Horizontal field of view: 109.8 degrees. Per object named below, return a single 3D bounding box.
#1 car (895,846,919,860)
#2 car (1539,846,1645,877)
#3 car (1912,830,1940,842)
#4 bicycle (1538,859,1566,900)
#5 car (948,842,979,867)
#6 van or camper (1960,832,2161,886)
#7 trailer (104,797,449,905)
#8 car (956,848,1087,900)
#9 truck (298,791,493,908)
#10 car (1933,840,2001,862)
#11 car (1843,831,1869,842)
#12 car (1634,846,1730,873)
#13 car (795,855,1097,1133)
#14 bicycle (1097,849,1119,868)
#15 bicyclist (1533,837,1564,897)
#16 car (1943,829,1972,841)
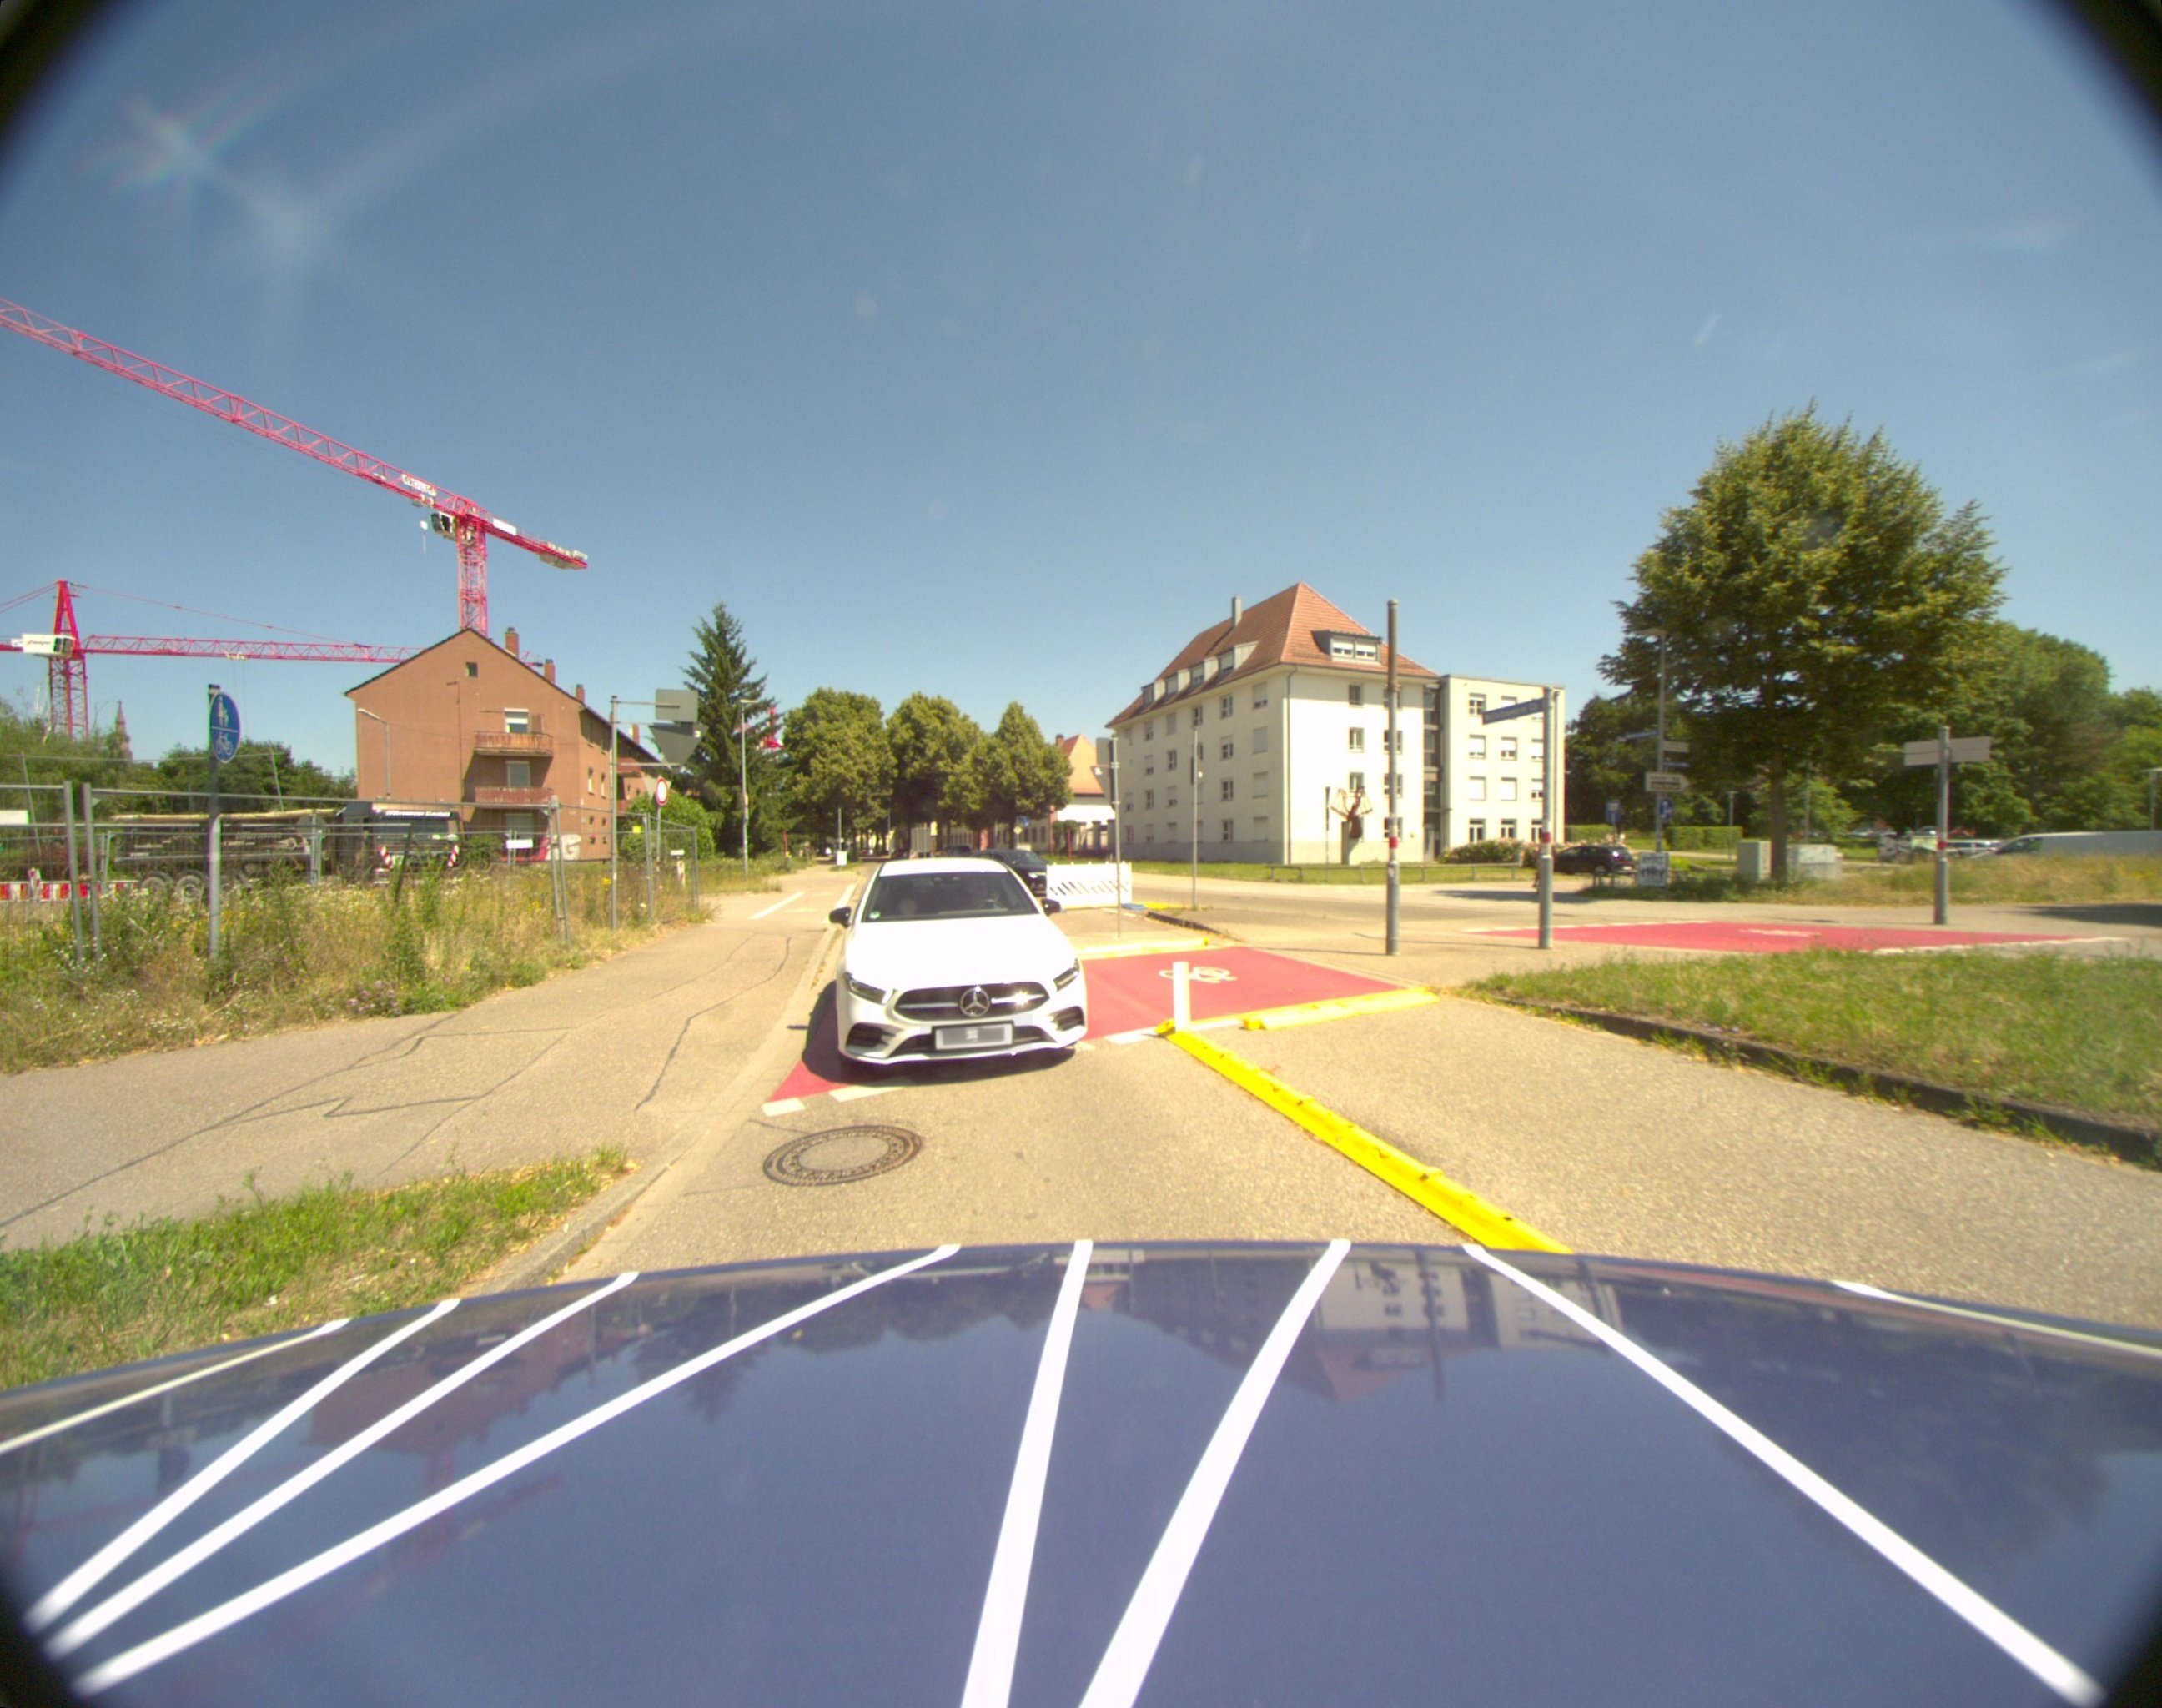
[{"bbox_3d":[-17.723,-0.129,77.315,1.646,1.374,3.881,-1,1,-24],"label":"car"},{"bbox_3d":[23.538,0.292,35.162,1.661,1.319,3.800,-1,1,-21],"label":"car"},{"bbox_3d":[102.607,-2.232,92.273,3.032,1.408,1.476,-1,1,-26],"label":"car"},{"bbox_3d":[13.169,0.683,21.280,0.438,1.052,2.092,-1,0,25],"label":"bicycle"},{"bbox_3d":[-8.751,0.007,56.300,1.690,1.759,4.198,-1,1,-17],"label":"car"},{"bbox_3d":[36.916,0.130,28.172,2.002,1.847,5.262,-1,1,-22],"label":"van or camper"},{"bbox_3d":[-27.991,-0.103,26.739,8.983,3.512,3.165,-1,1,3],"label":"trailer"},{"bbox_3d":[-2.031,0.582,24.646,1.805,1.443,4.605,-4,3,-40],"label":"car"},{"bbox_3d":[-22.841,-0.157,25.358,4.951,3.512,3.170,0,1,27],"label":"truck"},{"bbox_3d":[55.356,-0.209,47.513,1.084,1.350,2.525,-1,1,-14],"label":"car"},{"bbox_3d":[99.620,-2.288,97.652,3.032,1.408,1.476,-1,1,-26],"label":"car"},{"bbox_3d":[29.342,0.230,37.214,1.358,1.210,3.507,-1,1,-21],"label":"car"},{"bbox_3d":[-1.256,0.841,6.663,1.782,1.537,3.958,-3,1,-13],"label":"car"},{"bbox_3d":[1.583,0.276,44.462,0.710,1.018,1.982,-4,2,-15],"label":"bicycle"},{"bbox_3d":[13.323,0.367,21.674,0.644,1.654,0.711,-1,1,25],"label":"bicyclist"},{"bbox_3d":[103.610,-2.205,89.831,3.032,1.408,1.476,-1,1,-26],"label":"car"}]
